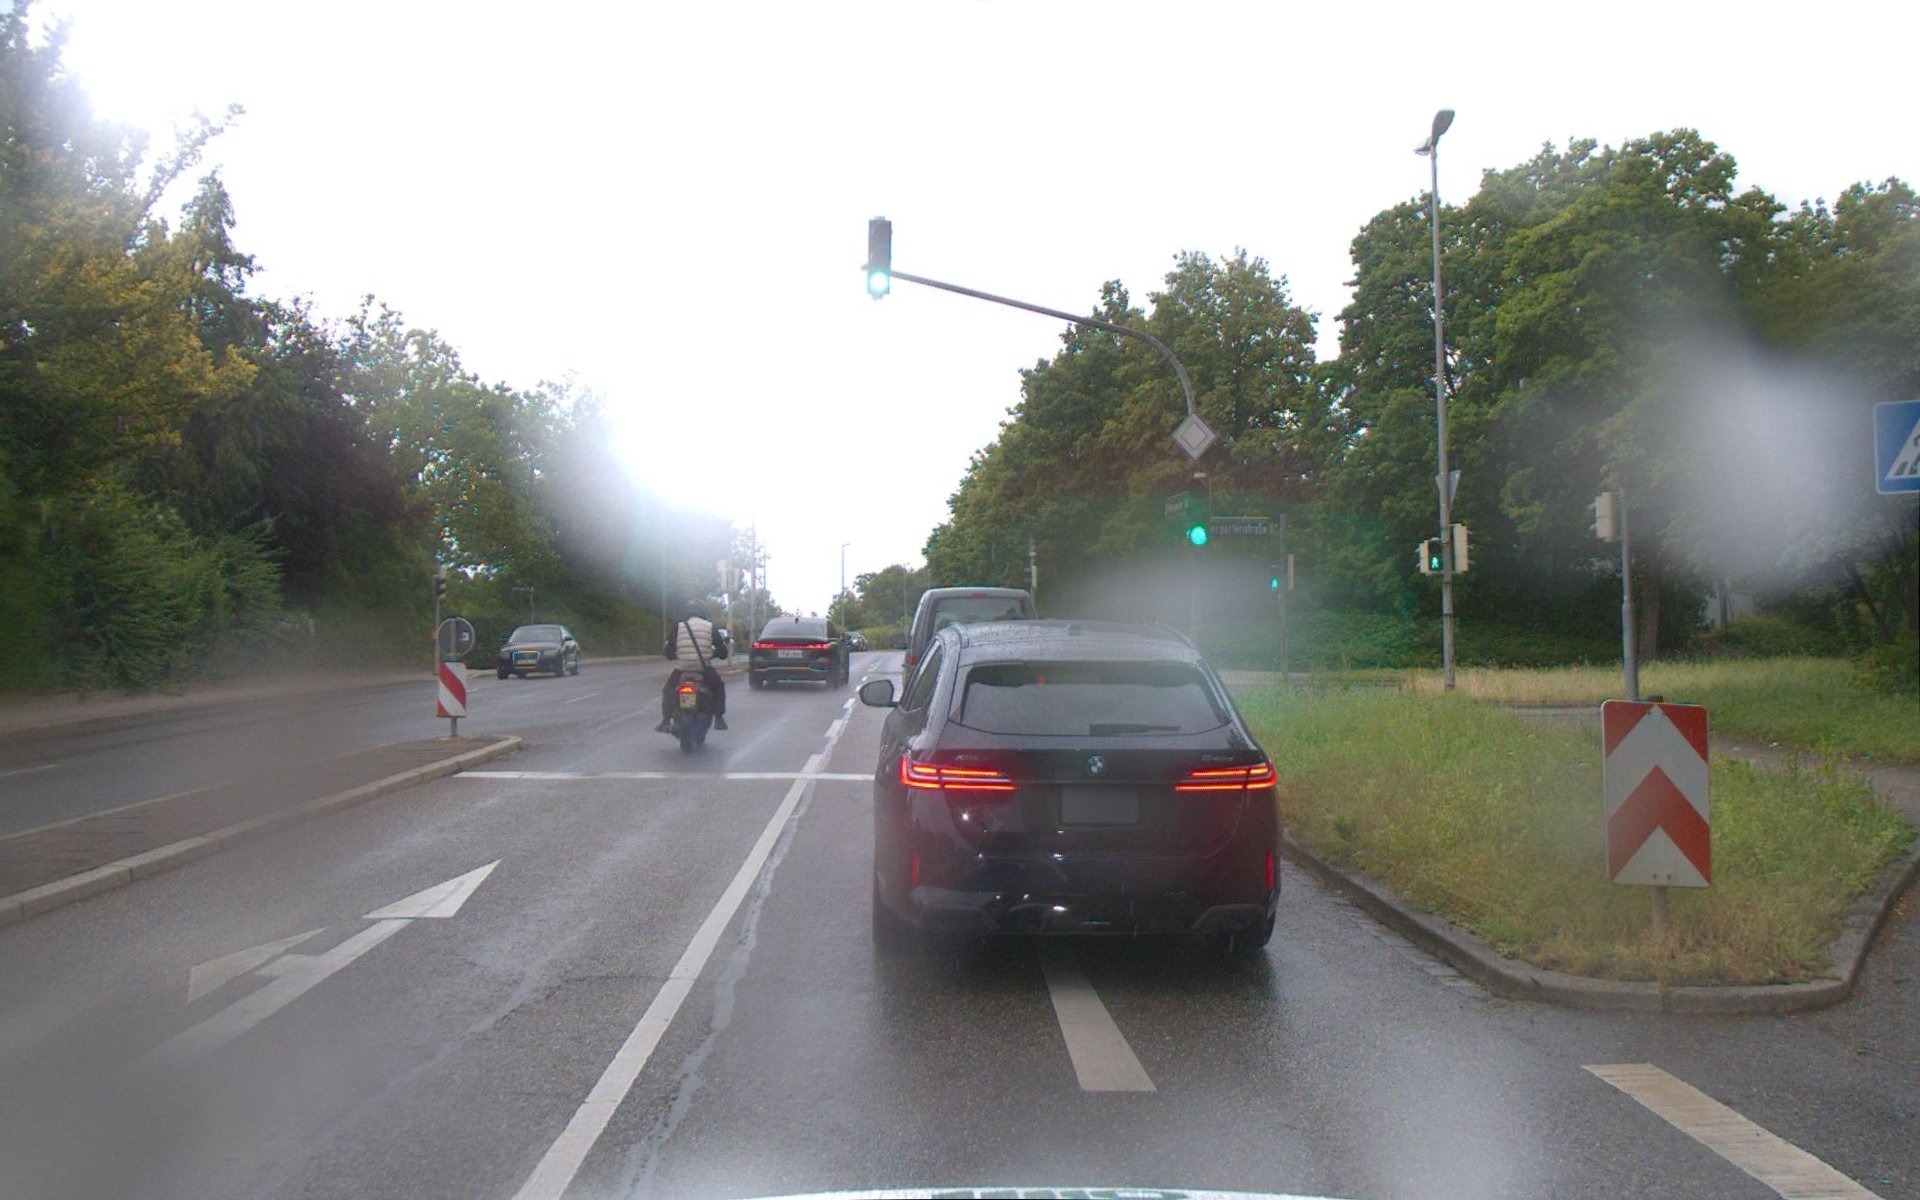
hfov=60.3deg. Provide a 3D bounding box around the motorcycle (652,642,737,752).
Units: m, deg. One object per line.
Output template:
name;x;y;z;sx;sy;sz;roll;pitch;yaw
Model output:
motorcycle;-2.957;1.066;18.563;0.726;1.139;1.426;1;0;-1

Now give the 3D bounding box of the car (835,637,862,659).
car;-8.732;3.746;129.560;1.984;1.590;3.875;-2;-1;-2

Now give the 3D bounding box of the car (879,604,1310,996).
car;0.517;0.824;8.499;1.728;1.563;3.672;1;-1;-1

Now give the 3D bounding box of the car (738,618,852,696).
car;-3.364;1.140;34.437;1.974;1.440;4.485;1;0;-1

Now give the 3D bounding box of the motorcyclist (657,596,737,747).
motorcyclist;-2.952;0.790;18.596;0.828;1.676;0.467;0;-1;-1

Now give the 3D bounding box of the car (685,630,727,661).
car;-13.487;2.414;88.000;1.693;1.511;4.155;-2;0;-2

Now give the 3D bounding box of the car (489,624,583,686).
car;-11.428;1.457;44.792;1.826;1.519;3.829;-1;0;-5

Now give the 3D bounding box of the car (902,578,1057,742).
car;0.193;0.676;20.599;1.731;1.841;3.904;1;0;-1
